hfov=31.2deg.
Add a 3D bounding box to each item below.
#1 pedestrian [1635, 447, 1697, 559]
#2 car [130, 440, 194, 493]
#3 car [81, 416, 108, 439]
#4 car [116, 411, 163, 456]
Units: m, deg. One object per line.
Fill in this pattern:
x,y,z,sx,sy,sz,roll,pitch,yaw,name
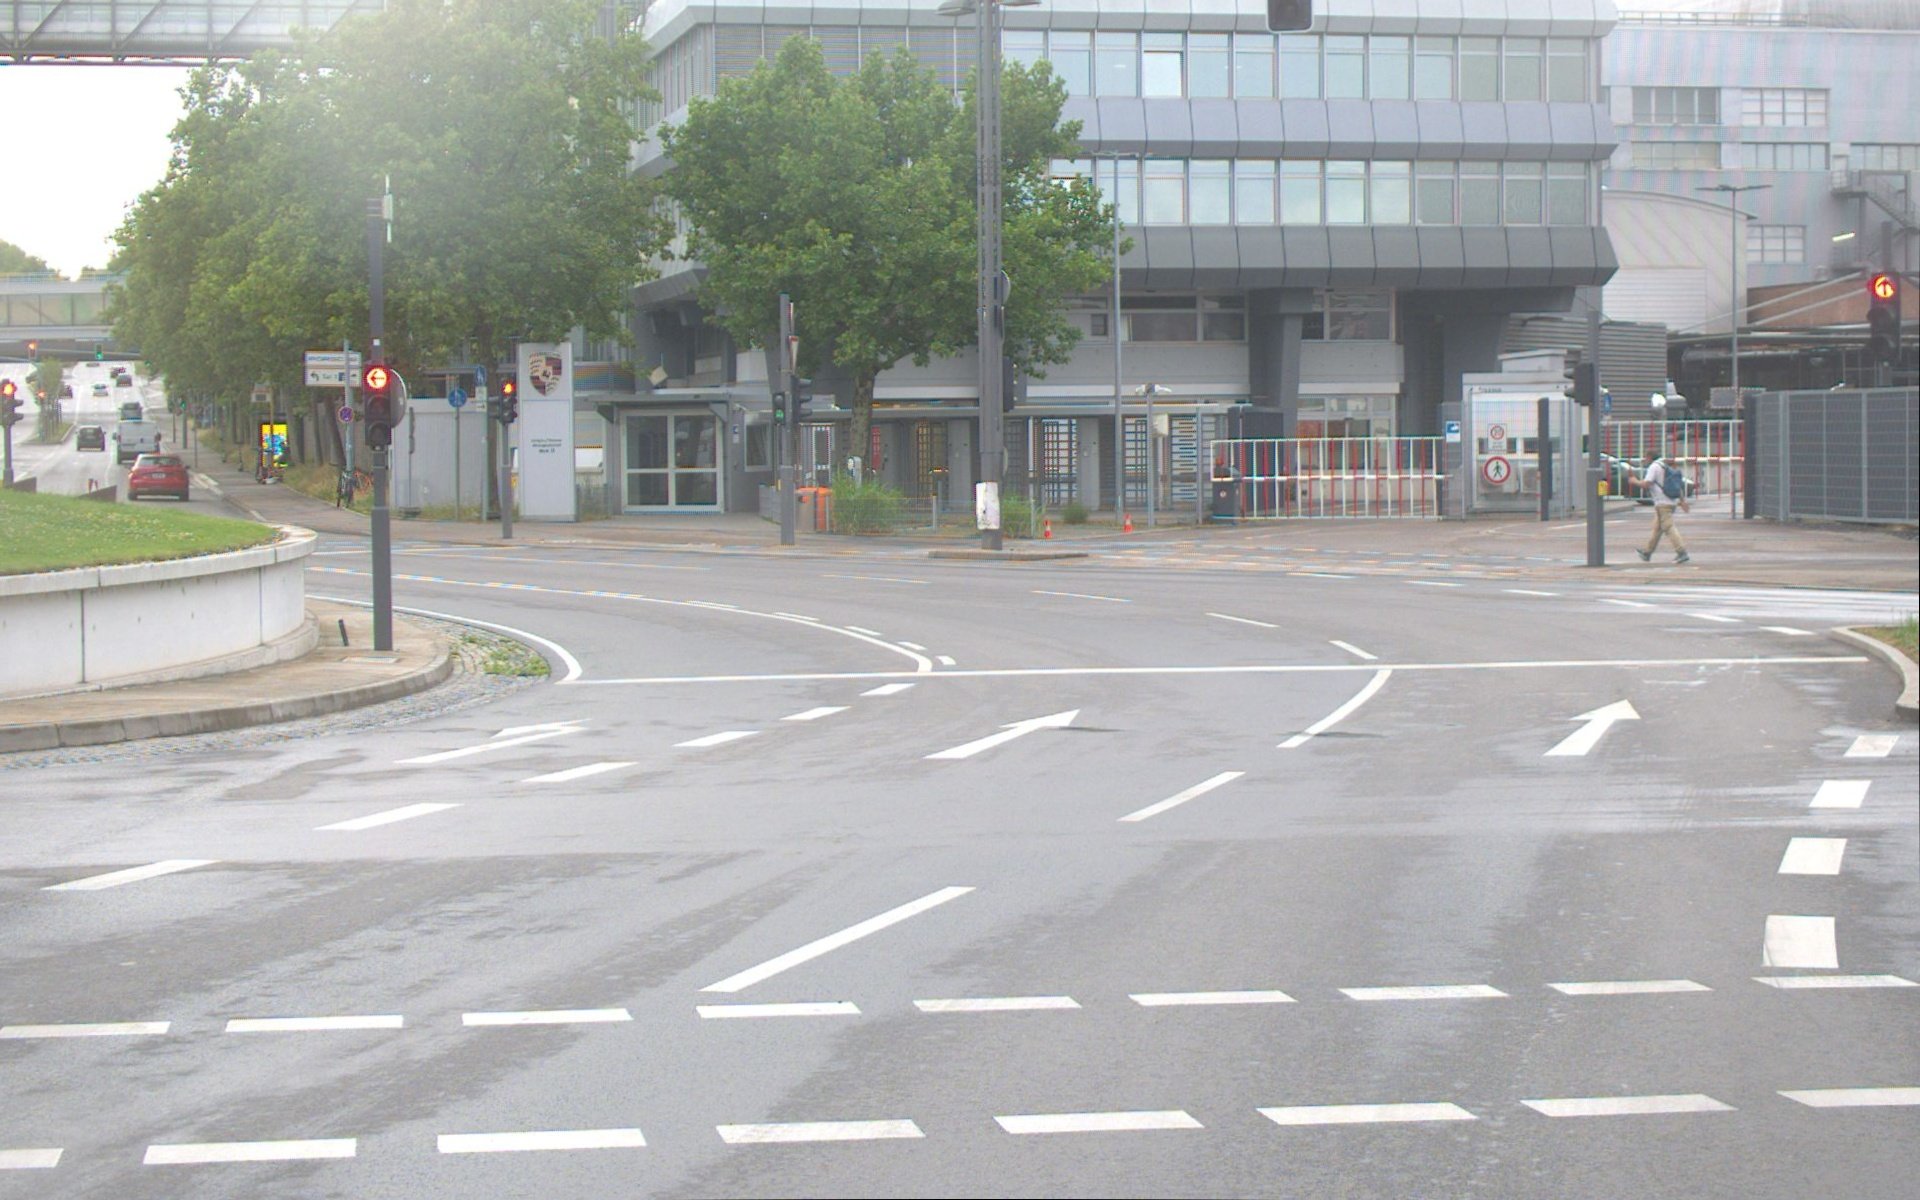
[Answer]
10.293,-1.403,50.120,0.808,1.605,0.769,-1,0,17,pedestrian
-24.173,-4.027,104.036,1.772,1.459,3.734,-1,0,-15,car
-53.096,-10.598,210.959,1.556,1.284,3.415,-1,0,-15,car
-42.250,-8.550,176.965,2.232,2.100,4.956,-1,0,-14,car
